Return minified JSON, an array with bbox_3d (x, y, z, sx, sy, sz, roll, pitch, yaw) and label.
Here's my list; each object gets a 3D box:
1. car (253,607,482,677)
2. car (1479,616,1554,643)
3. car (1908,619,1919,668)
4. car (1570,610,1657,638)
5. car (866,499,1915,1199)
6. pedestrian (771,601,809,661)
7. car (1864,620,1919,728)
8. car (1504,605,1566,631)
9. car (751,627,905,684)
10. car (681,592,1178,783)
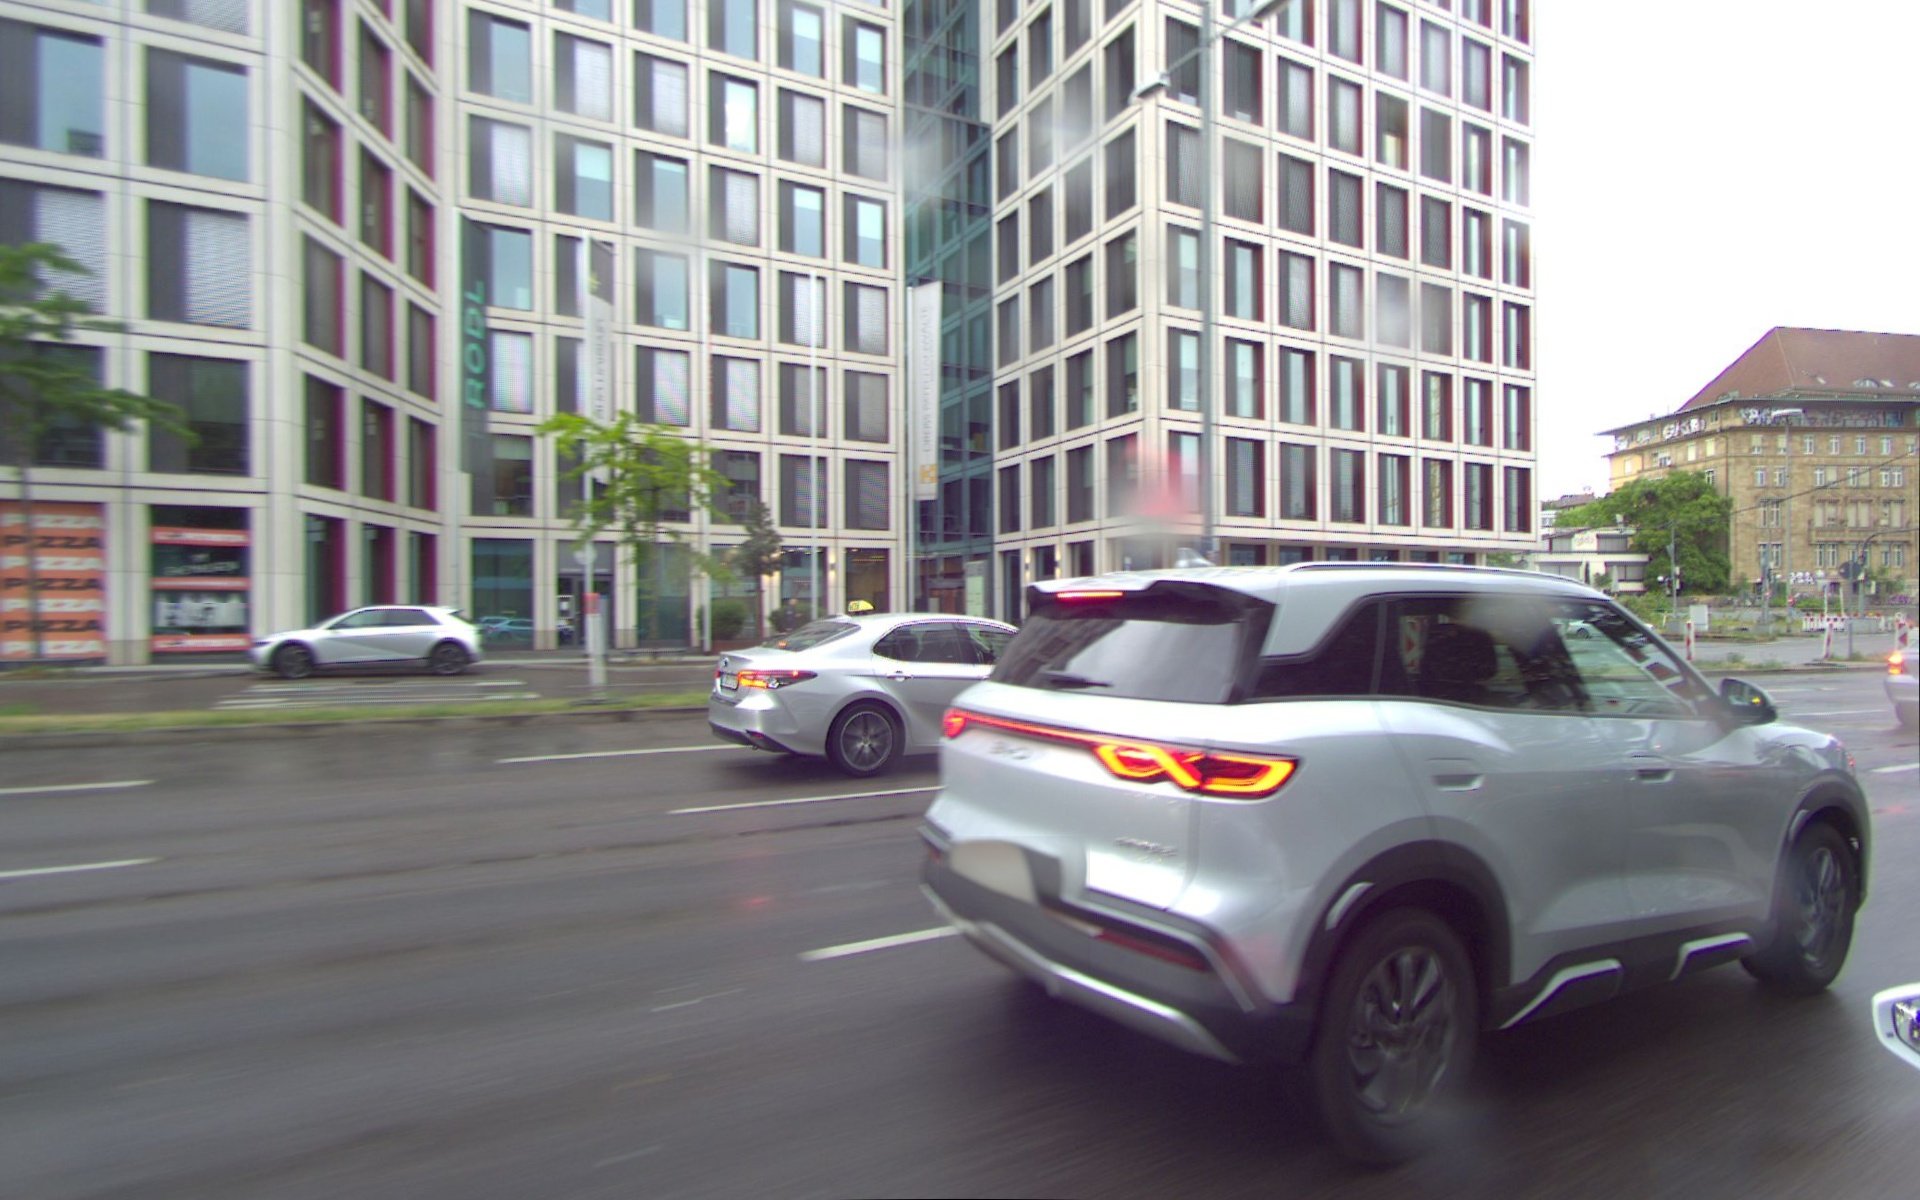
[{"bbox_3d":[-13.265,0.925,22.753,4.321,1.442,1.690,0,-2,-30],"label":"car"},{"bbox_3d":[35.167,1.852,63.576,1.653,1.617,3.975,1,0,-25],"label":"car"},{"bbox_3d":[29.380,1.269,28.709,3.933,1.391,1.781,1,0,-20],"label":"car"},{"bbox_3d":[41.885,1.516,64.425,1.987,1.684,4.336,1,0,-45],"label":"car"},{"bbox_3d":[1.873,0.650,4.033,4.122,1.683,1.799,1,0,-31],"label":"car"},{"bbox_3d":[-5.024,0.911,29.717,0.956,1.757,0.609,1,0,-31],"label":"pedestrian"},{"bbox_3d":[14.852,1.022,14.076,4.324,1.422,1.727,1,0,-26],"label":"car"},{"bbox_3d":[48.052,1.489,83.998,4.165,2.040,1.989,0,0,42],"label":"car"},{"bbox_3d":[-3.667,1.513,28.025,3.908,1.442,1.690,0,-2,-30],"label":"car"},{"bbox_3d":[-0.194,0.737,10.112,4.747,1.541,1.821,1,0,-32],"label":"car"}]
